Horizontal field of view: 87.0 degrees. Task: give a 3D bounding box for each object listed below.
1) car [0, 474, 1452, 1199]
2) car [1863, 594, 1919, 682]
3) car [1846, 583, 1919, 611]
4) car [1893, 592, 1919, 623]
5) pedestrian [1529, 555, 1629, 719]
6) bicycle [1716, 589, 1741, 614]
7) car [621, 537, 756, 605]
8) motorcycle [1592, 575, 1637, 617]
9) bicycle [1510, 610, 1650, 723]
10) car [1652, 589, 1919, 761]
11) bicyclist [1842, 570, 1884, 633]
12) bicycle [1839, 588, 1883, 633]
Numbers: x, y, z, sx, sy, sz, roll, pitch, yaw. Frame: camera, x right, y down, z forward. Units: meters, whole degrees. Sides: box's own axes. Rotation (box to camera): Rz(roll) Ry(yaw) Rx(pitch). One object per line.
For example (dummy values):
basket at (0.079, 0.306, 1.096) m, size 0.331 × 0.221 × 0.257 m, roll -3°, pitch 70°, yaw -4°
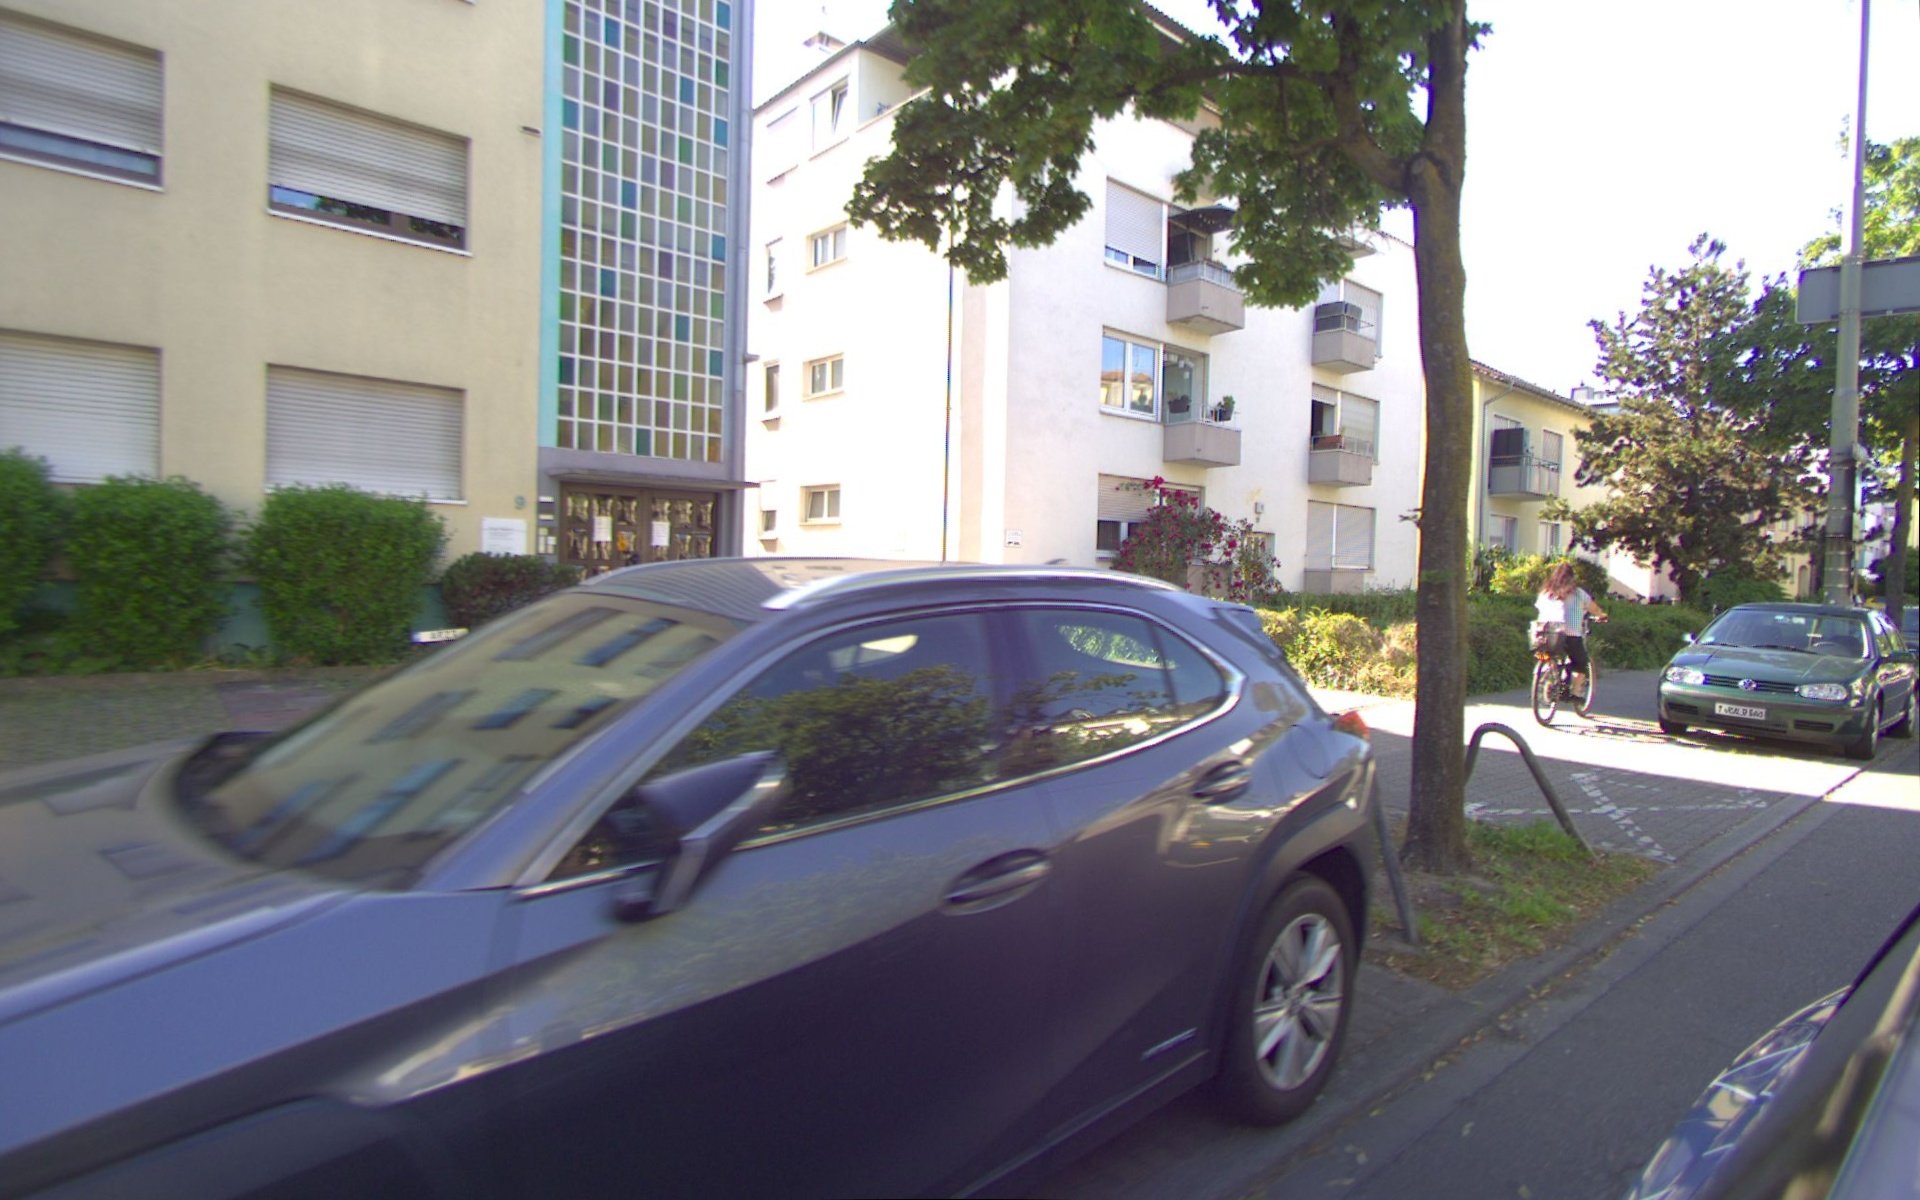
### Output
car at (-0.581, 0.589, 2.419) m, size 4.162 × 1.507 × 1.717 m, roll 0°, pitch 3°, yaw -42°
car at (17.477, 0.648, 17.896) m, size 4.375 × 1.412 × 1.590 m, roll 0°, pitch 4°, yaw -40°
car at (60.292, -0.196, 65.580) m, size 1.799 × 1.458 × 3.998 m, roll 0°, pitch 6°, yaw -40°
car at (46.400, 0.372, 48.855) m, size 3.653 × 1.372 × 1.536 m, roll 0°, pitch 5°, yaw -41°
pedestrian at (6.756, 0.372, 11.046) m, size 0.762 × 1.703 × 0.671 m, roll 0°, pitch 2°, yaw -41°
bicycle at (33.096, 0.040, 43.576) m, size 1.713 × 1.004 × 0.456 m, roll -2°, pitch 5°, yaw -41°
car at (-6.839, -0.765, 25.238) m, size 1.713 × 1.549 × 3.996 m, roll 0°, pitch 3°, yaw -40°
motorcycle at (22.820, -0.139, 35.280) m, size 2.383 × 1.392 × 0.637 m, roll 0°, pitch 3°, yaw -41°
bicycle at (6.844, 0.680, 11.124) m, size 2.090 × 1.083 × 0.683 m, roll 0°, pitch 3°, yaw -41°
car at (9.119, 0.647, 10.860) m, size 4.073 × 1.445 × 1.696 m, roll 0°, pitch 3°, yaw -40°
bicyclist at (26.892, 0.048, 30.140) m, size 0.998 × 1.815 × 0.725 m, roll 0°, pitch 3°, yaw -41°
bicycle at (26.865, 0.311, 30.171) m, size 1.790 × 1.262 × 0.699 m, roll 0°, pitch 3°, yaw -41°
